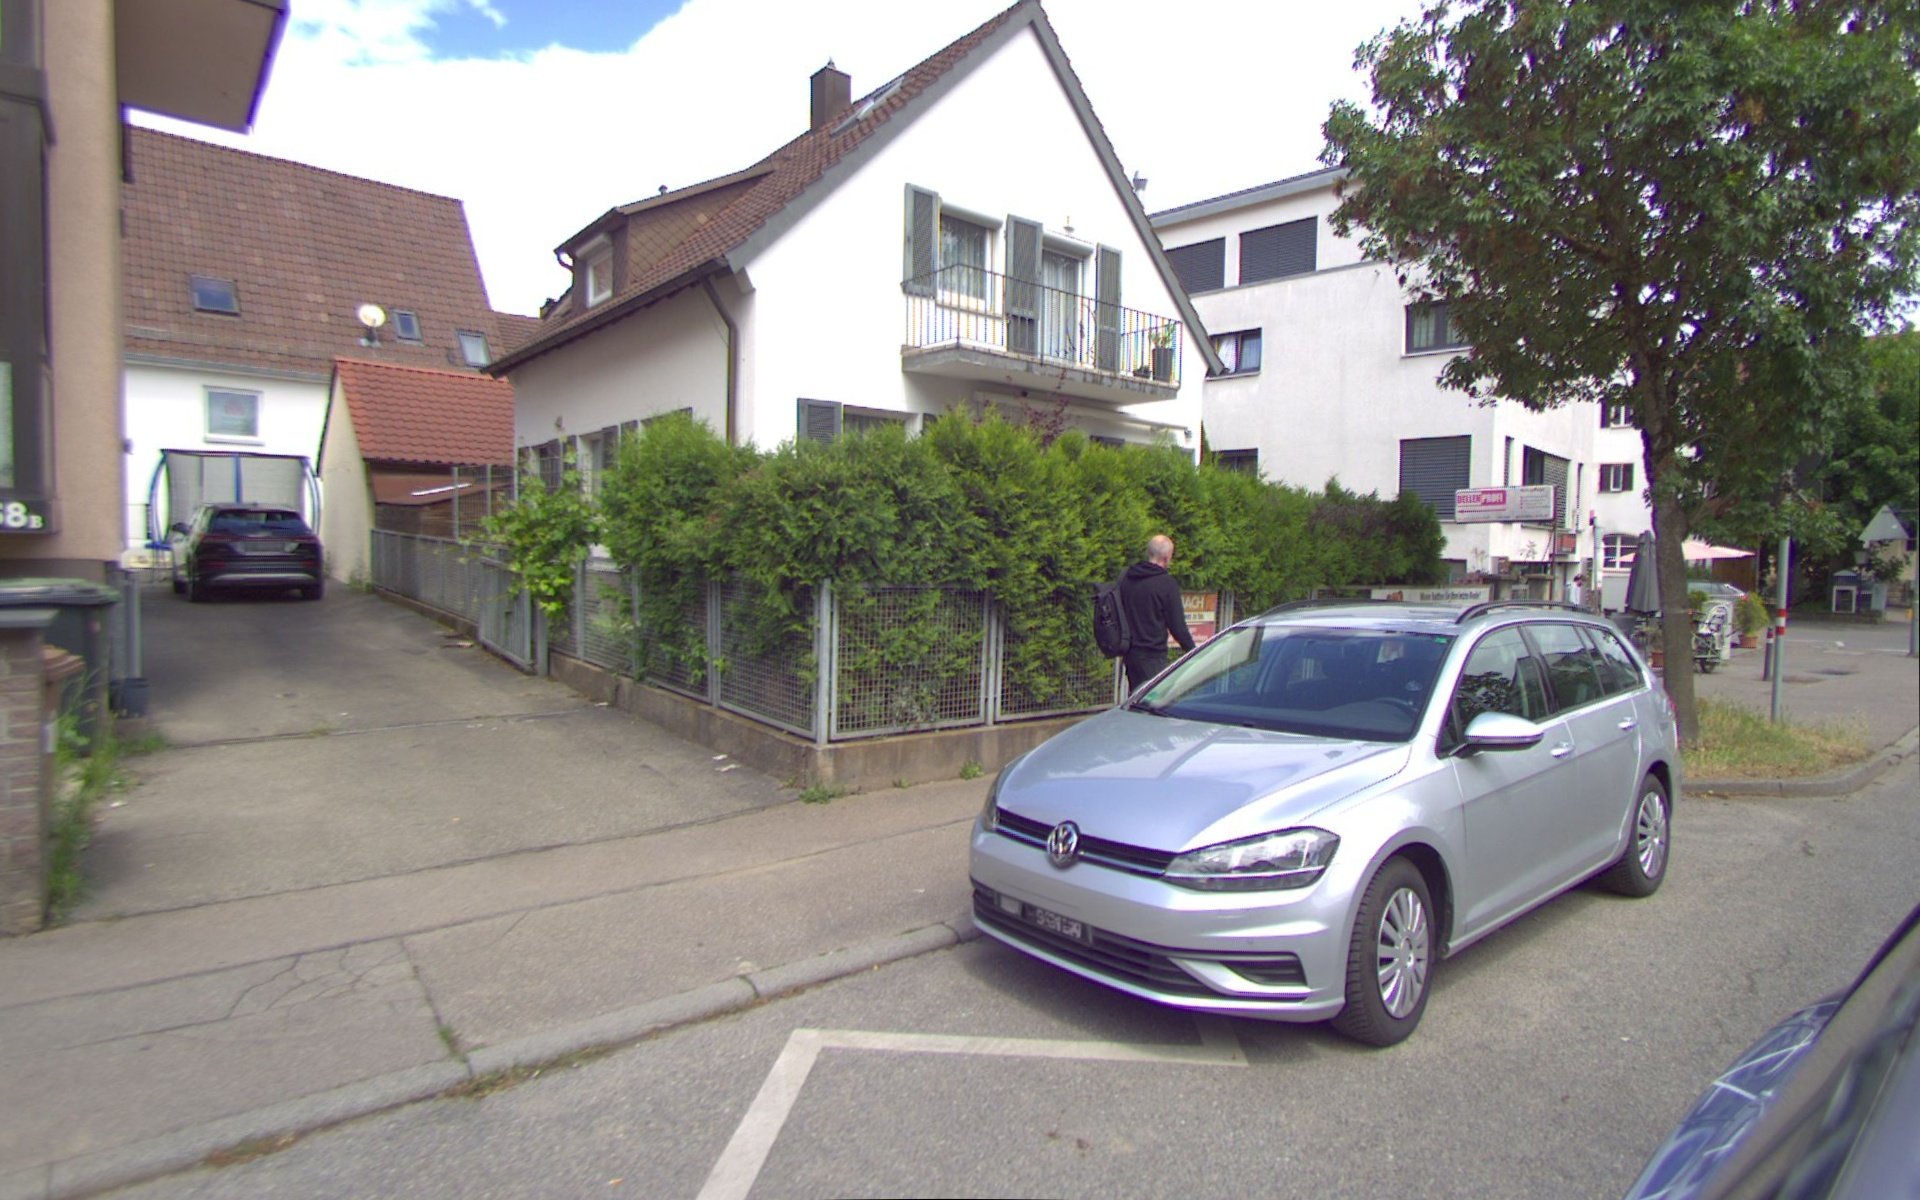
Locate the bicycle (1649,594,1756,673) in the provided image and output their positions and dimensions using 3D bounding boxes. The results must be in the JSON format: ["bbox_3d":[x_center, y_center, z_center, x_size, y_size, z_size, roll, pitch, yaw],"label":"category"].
[{"bbox_3d":[12.219,0.513,16.636,2.171,1.164,0.723,-2,3,-35],"label":"bicycle"}]

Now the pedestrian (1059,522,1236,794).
[{"bbox_3d":[1.295,0.349,7.043,0.827,1.733,0.883,-1,2,-38],"label":"pedestrian"}]

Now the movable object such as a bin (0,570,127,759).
[{"bbox_3d":[-6.006,0.396,6.689,0.713,1.173,0.550,-1,2,-35],"label":"movable object such as a bin"}]

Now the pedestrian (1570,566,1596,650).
[{"bbox_3d":[13.432,0.157,21.837,0.425,1.783,0.669,1,2,29],"label":"pedestrian"}]

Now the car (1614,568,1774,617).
[{"bbox_3d":[24.254,-0.278,33.630,4.157,1.433,1.758,3,2,34],"label":"car"}]

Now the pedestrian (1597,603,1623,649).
[{"bbox_3d":[13.912,0.554,21.672,0.416,0.949,0.493,1,2,29],"label":"pedestrian"}]

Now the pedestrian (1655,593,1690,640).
[{"bbox_3d":[17.183,0.386,24.432,0.562,1.102,0.629,1,2,25],"label":"pedestrian"}]

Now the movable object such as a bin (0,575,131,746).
[{"bbox_3d":[-6.371,0.395,7.167,0.713,1.133,0.550,-1,2,-35],"label":"movable object such as a bin"}]

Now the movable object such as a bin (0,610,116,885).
[{"bbox_3d":[-4.072,0.612,4.364,0.593,1.093,0.525,-1,2,-34],"label":"movable object such as a bin"}]

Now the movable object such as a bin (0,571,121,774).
[{"bbox_3d":[-5.655,0.416,6.213,0.713,1.173,0.550,-1,2,-35],"label":"movable object such as a bin"}]

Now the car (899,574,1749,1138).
[{"bbox_3d":[2.126,0.643,4.886,4.786,1.499,1.704,-1,1,-40],"label":"car"}]

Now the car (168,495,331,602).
[{"bbox_3d":[-12.229,-0.926,17.317,2.002,1.592,3.998,-2,5,-39],"label":"car"}]
